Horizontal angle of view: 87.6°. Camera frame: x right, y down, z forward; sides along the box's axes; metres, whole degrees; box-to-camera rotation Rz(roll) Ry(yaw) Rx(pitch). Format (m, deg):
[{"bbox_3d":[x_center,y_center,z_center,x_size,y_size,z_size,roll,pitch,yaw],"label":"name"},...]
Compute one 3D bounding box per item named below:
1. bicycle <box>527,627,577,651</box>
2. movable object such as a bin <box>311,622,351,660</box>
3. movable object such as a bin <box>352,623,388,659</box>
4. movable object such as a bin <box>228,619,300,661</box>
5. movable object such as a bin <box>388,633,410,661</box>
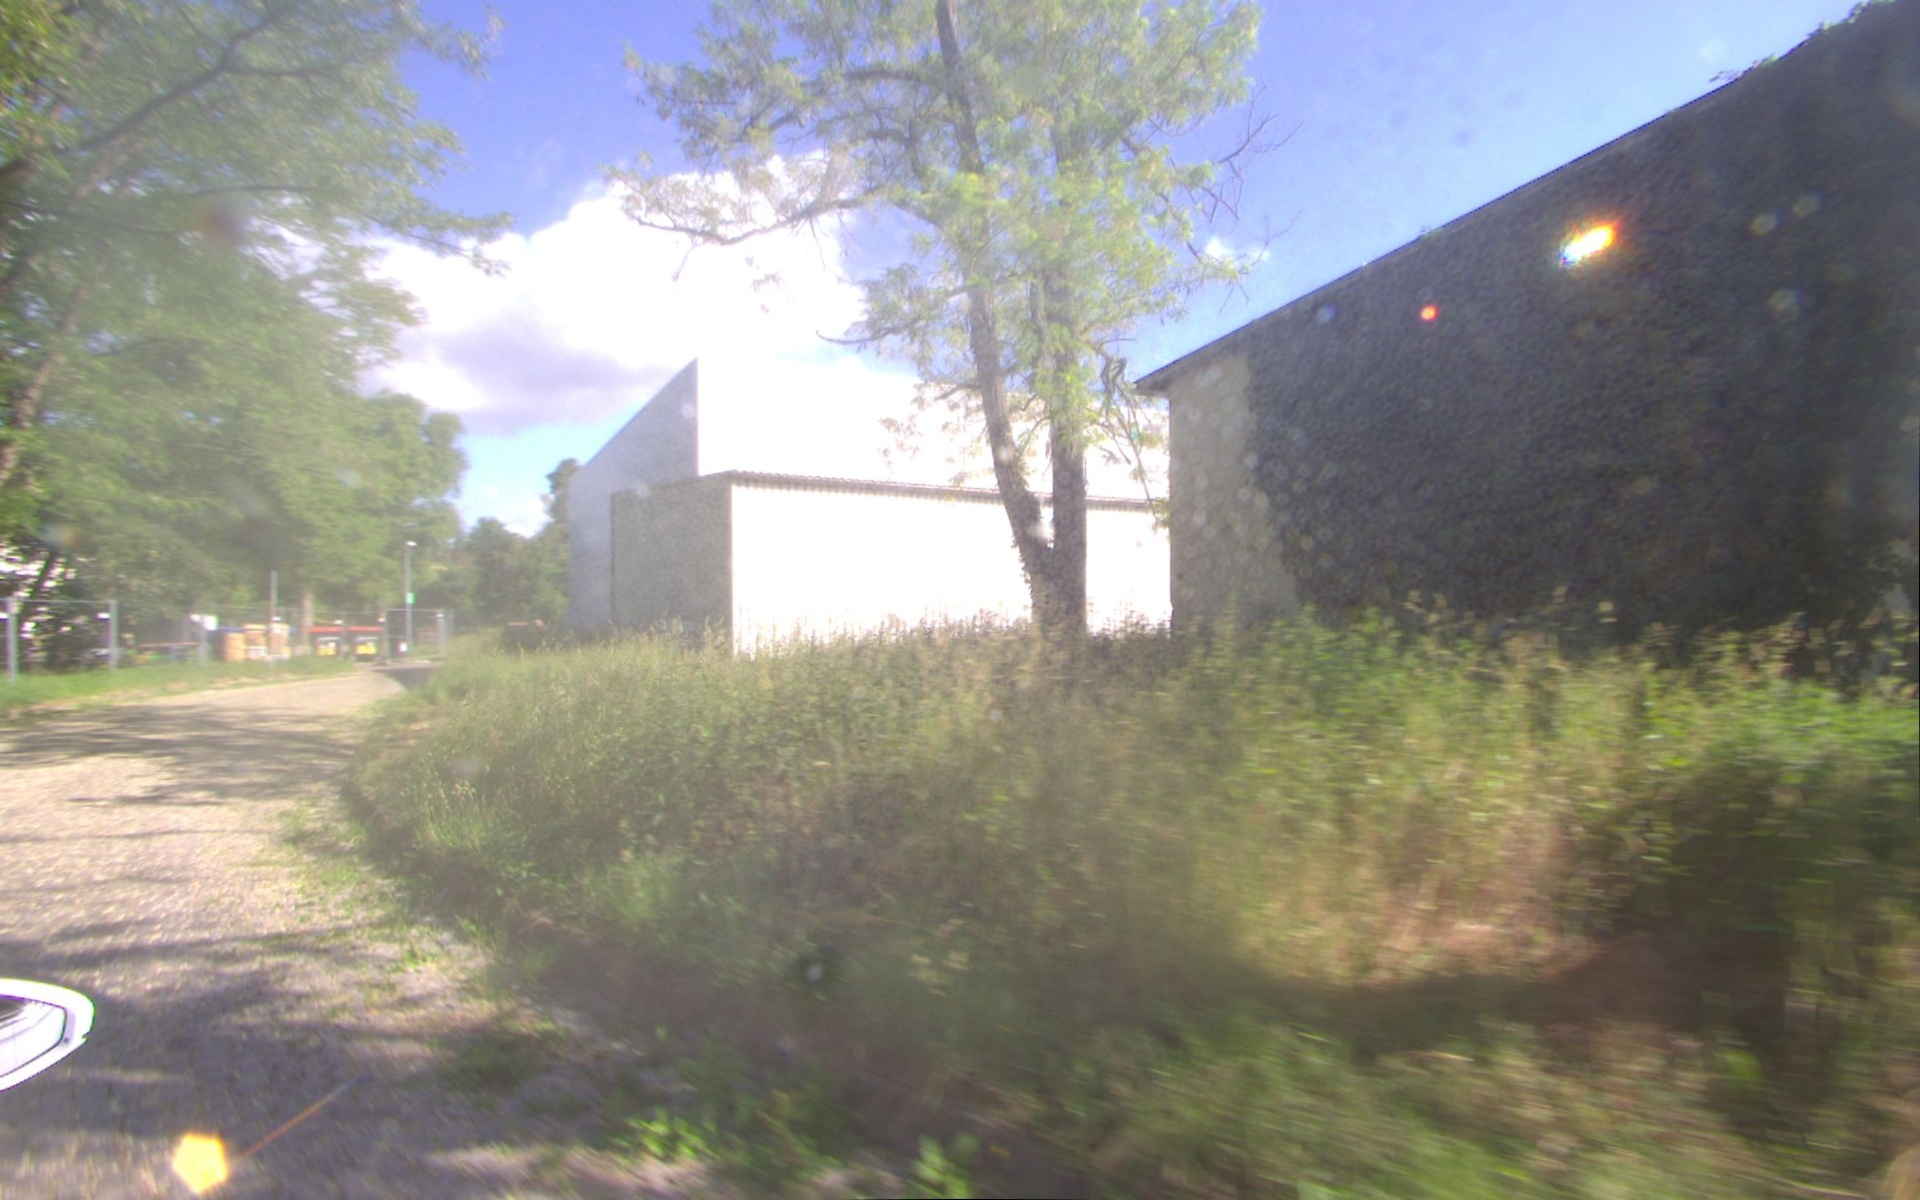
[{"bbox_3d":[-23.165,2.199,56.830,2.597,1.282,1.137,1,-1,-25],"label":"bicycle"},{"bbox_3d":[-25.252,1.626,40.232,1.325,1.503,0.801,1,-1,-35],"label":"movable object such as a bin"},{"bbox_3d":[-24.041,1.666,40.800,1.232,1.463,0.698,1,-1,-35],"label":"movable object such as a bin"},{"bbox_3d":[-27.013,1.536,38.897,2.266,1.612,1.167,1,-1,-35],"label":"movable object such as a bin"},{"bbox_3d":[-23.139,1.921,41.299,0.727,1.112,0.816,0,-1,-25],"label":"movable object such as a bin"}]
